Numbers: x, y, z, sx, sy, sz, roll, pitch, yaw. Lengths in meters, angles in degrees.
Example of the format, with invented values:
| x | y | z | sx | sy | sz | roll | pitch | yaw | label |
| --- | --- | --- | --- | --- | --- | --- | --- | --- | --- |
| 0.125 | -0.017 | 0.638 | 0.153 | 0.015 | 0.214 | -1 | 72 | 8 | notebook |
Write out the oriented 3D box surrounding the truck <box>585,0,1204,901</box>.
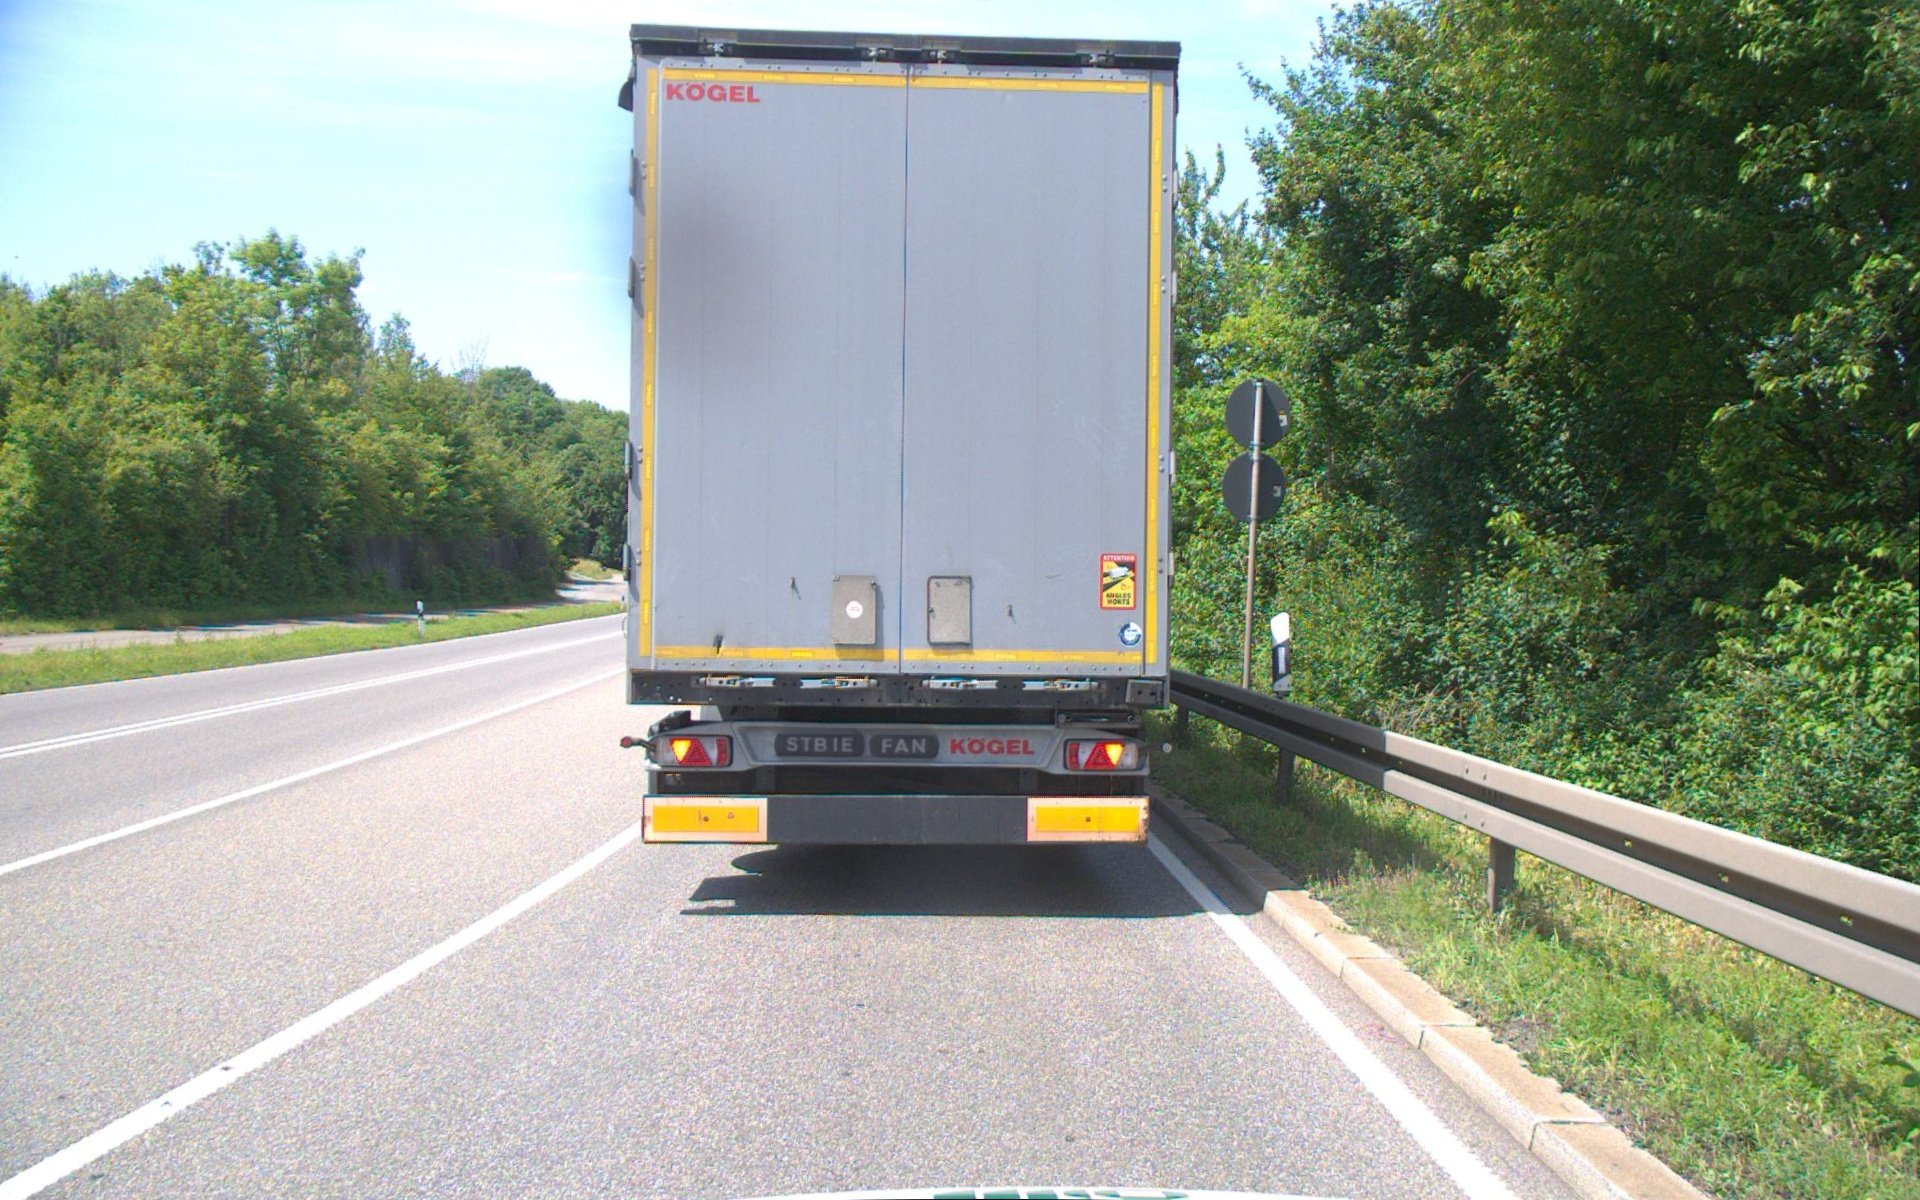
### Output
| x | y | z | sx | sy | sz | roll | pitch | yaw | label |
| --- | --- | --- | --- | --- | --- | --- | --- | --- | --- |
| -0.439 | -0.767 | 13.283 | 2.701 | 4.100 | 11.920 | 1 | 0 | -2 | truck |
